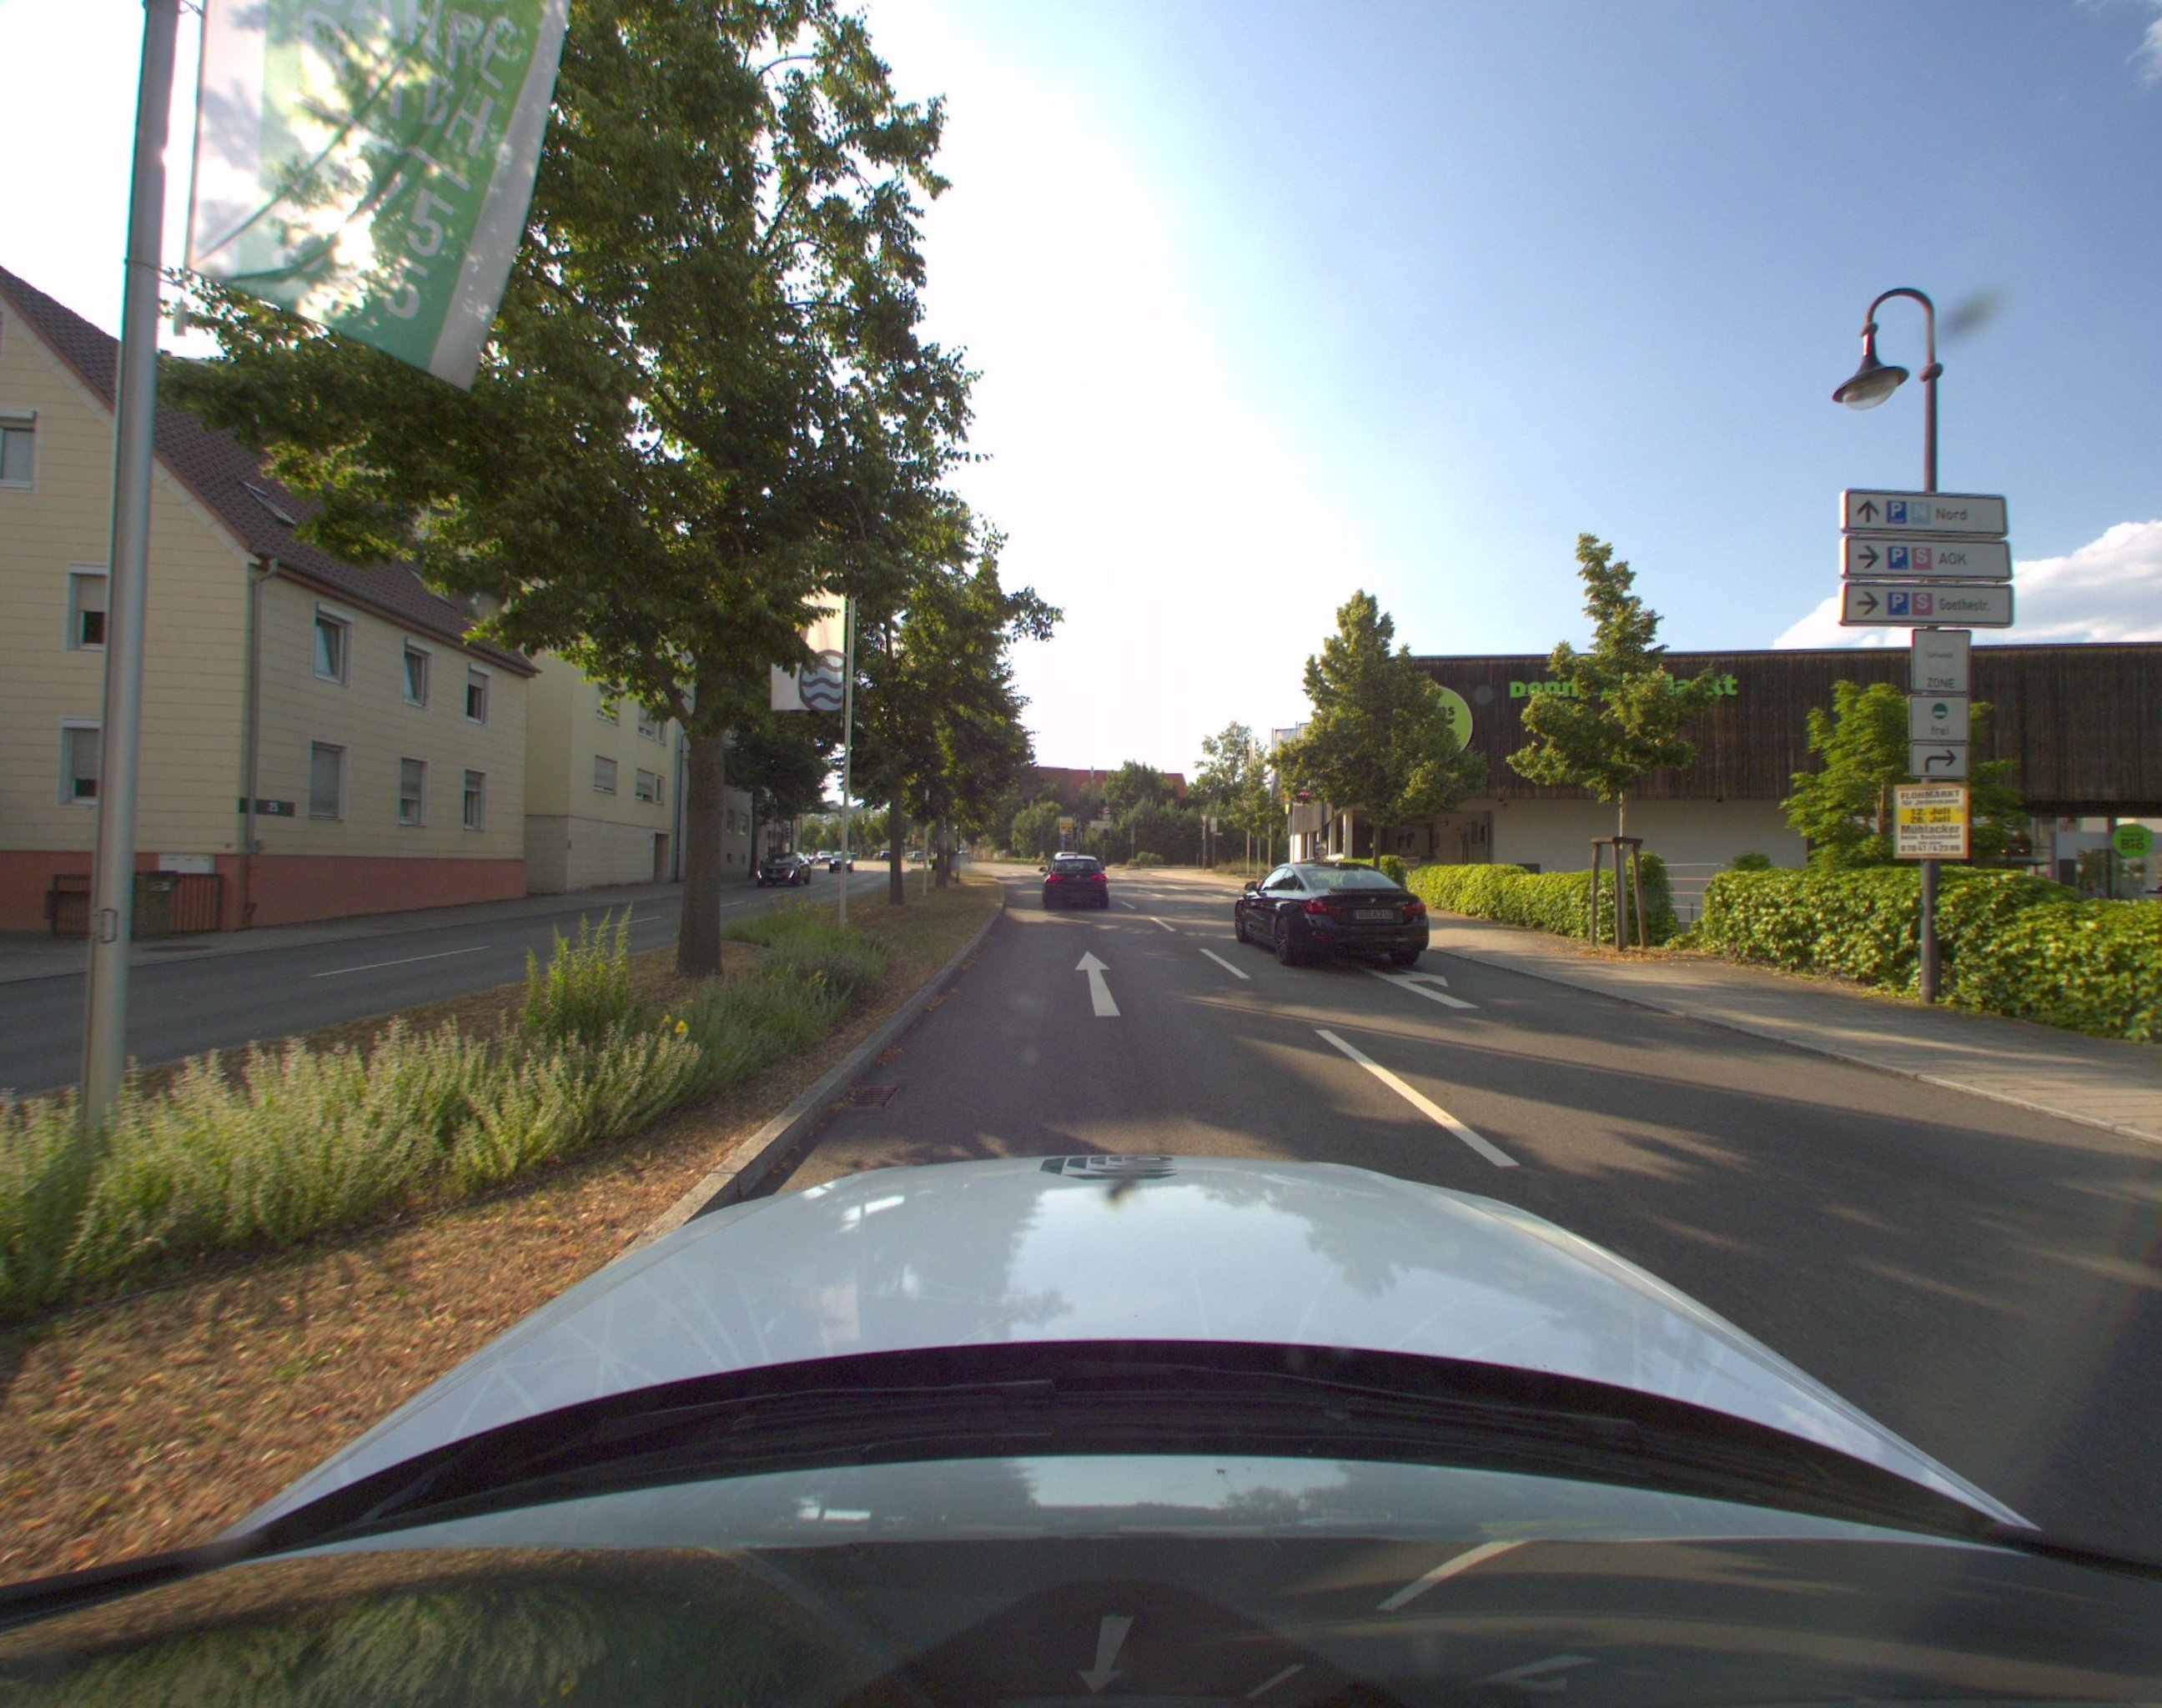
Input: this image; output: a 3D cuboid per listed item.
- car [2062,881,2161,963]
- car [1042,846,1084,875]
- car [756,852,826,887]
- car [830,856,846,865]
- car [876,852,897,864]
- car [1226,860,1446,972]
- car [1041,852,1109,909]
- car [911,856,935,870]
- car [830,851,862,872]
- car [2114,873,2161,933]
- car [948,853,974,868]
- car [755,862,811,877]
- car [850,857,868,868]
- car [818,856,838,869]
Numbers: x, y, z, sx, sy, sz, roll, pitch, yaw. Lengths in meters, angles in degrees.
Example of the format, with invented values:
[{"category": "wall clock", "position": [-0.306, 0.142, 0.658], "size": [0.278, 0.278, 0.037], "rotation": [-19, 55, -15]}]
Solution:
[{"category": "car", "position": [21.742, 1.347, 15.055], "size": [1.984, 1.539, 4.554], "rotation": [1, 0, 5]}, {"category": "car", "position": [-1.210, 0.382, 51.776], "size": [1.926, 1.769, 4.437], "rotation": [0, 0, -11]}, {"category": "car", "position": [-13.397, 0.691, 37.884], "size": [1.936, 1.486, 4.318], "rotation": [-1, 0, -4]}, {"category": "car", "position": [-48.152, 1.257, 161.135], "size": [2.229, 1.769, 4.415], "rotation": [0, 0, -27]}, {"category": "car", "position": [-30.208, 0.585, 126.224], "size": [2.229, 1.769, 4.415], "rotation": [0, 0, -27]}, {"category": "car", "position": [3.542, 0.779, 12.233], "size": [1.914, 1.364, 4.351], "rotation": [0, 0, 0]}, {"category": "car", "position": [-0.260, 0.708, 23.664], "size": [1.717, 1.490, 4.347], "rotation": [0, 0, -4]}, {"category": "car", "position": [-20.603, 1.204, 106.354], "size": [2.266, 1.674, 4.555], "rotation": [3, 0, -21]}, {"category": "car", "position": [-17.340, 0.561, 60.164], "size": [1.604, 1.486, 3.775], "rotation": [0, 0, -7]}, {"category": "car", "position": [30.983, 1.383, 21.775], "size": [1.982, 1.628, 4.009], "rotation": [1, 0, 8]}, {"category": "car", "position": [-14.913, 0.824, 101.077], "size": [2.266, 1.674, 4.555], "rotation": [3, 0, -21]}, {"category": "car", "position": [-28.694, 1.481, 78.646], "size": [4.867, 1.436, 1.907], "rotation": [0, 0, -15]}, {"category": "car", "position": [-39.286, 1.518, 143.837], "size": [2.229, 1.859, 4.415], "rotation": [0, 0, -27]}, {"category": "car", "position": [-30.941, 1.004, 99.535], "size": [1.861, 1.486, 4.956], "rotation": [0, 0, -24]}]
